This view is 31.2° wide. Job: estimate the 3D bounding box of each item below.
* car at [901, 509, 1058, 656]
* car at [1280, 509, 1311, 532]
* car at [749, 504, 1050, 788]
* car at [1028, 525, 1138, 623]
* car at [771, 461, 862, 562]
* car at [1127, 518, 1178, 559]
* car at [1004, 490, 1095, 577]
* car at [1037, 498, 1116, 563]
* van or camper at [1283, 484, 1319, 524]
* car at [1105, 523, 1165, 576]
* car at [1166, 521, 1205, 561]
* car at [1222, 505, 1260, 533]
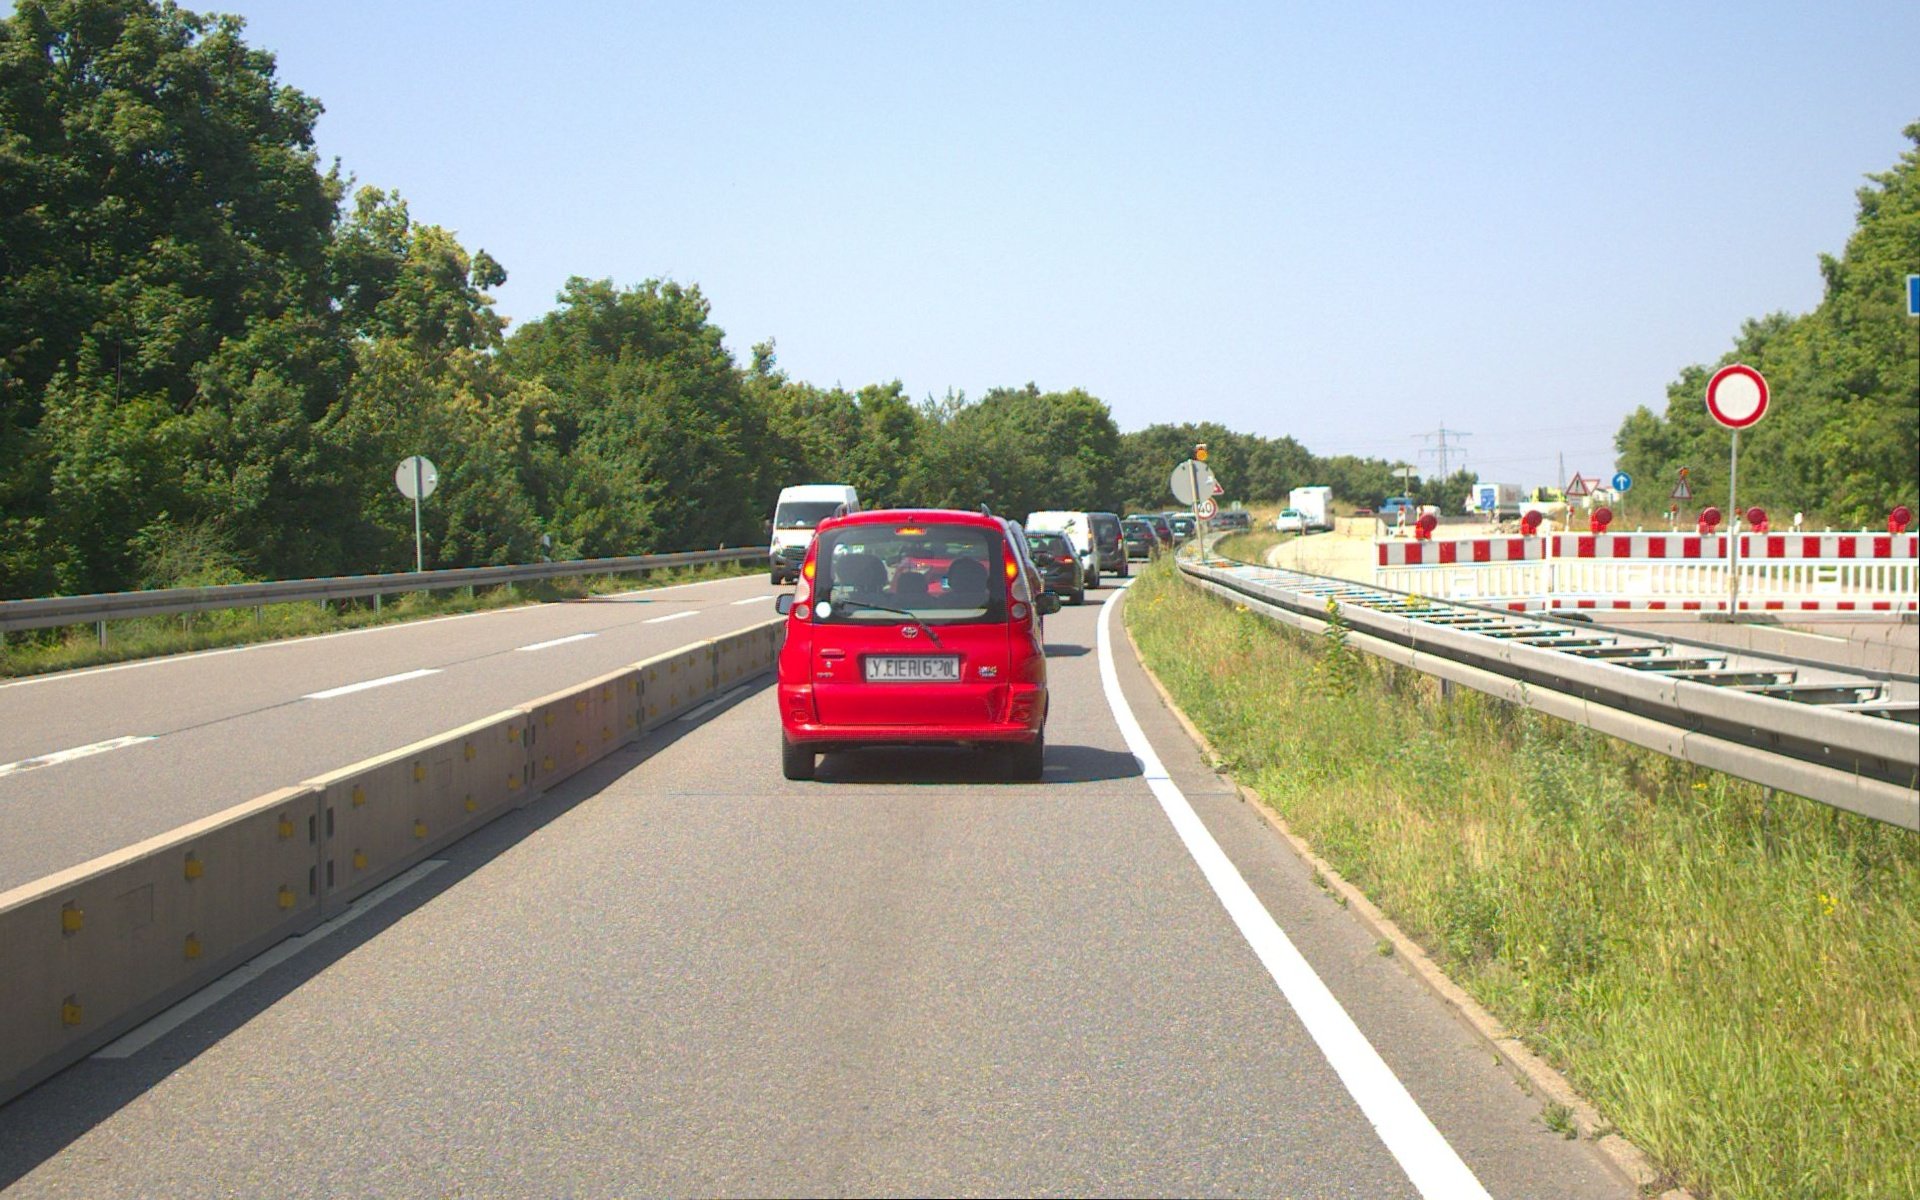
[{"bbox_3d":[0.238,-0.249,42.612,1.830,1.716,4.000,-1,1,0],"label":"car"},{"bbox_3d":[21.813,-5.172,223.799,1.994,1.481,3.999,-1,1,5],"label":"car"},{"bbox_3d":[-0.309,0.235,22.432,1.752,1.667,4.000,1,1,2],"label":"car"},{"bbox_3d":[2.446,-0.530,67.281,1.994,1.831,4.000,-1,1,4],"label":"car"},{"bbox_3d":[-3.607,-2.251,87.481,2.061,2.477,5.561,0,1,0],"label":"car"},{"bbox_3d":[7.765,-2.481,138.267,1.994,1.579,4.000,-1,1,4],"label":"car"},{"bbox_3d":[2.122,-1.589,82.338,1.993,1.997,4.000,-1,1,-1],"label":"car"},{"bbox_3d":[3.230,-1.942,95.834,1.993,1.744,4.000,-1,1,-1],"label":"car"},{"bbox_3d":[23.336,-6.550,235.603,2.328,2.697,4.593,-1,1,4],"label":"van or camper"},{"bbox_3d":[6.118,-1.780,120.524,1.993,1.777,4.000,-1,1,2],"label":"car"},{"bbox_3d":[9.913,-2.601,151.199,1.502,1.730,3.169,-1,1,7],"label":"car"},{"bbox_3d":[15.603,-4.490,190.758,1.994,1.546,3.999,-1,1,6],"label":"car"}]
